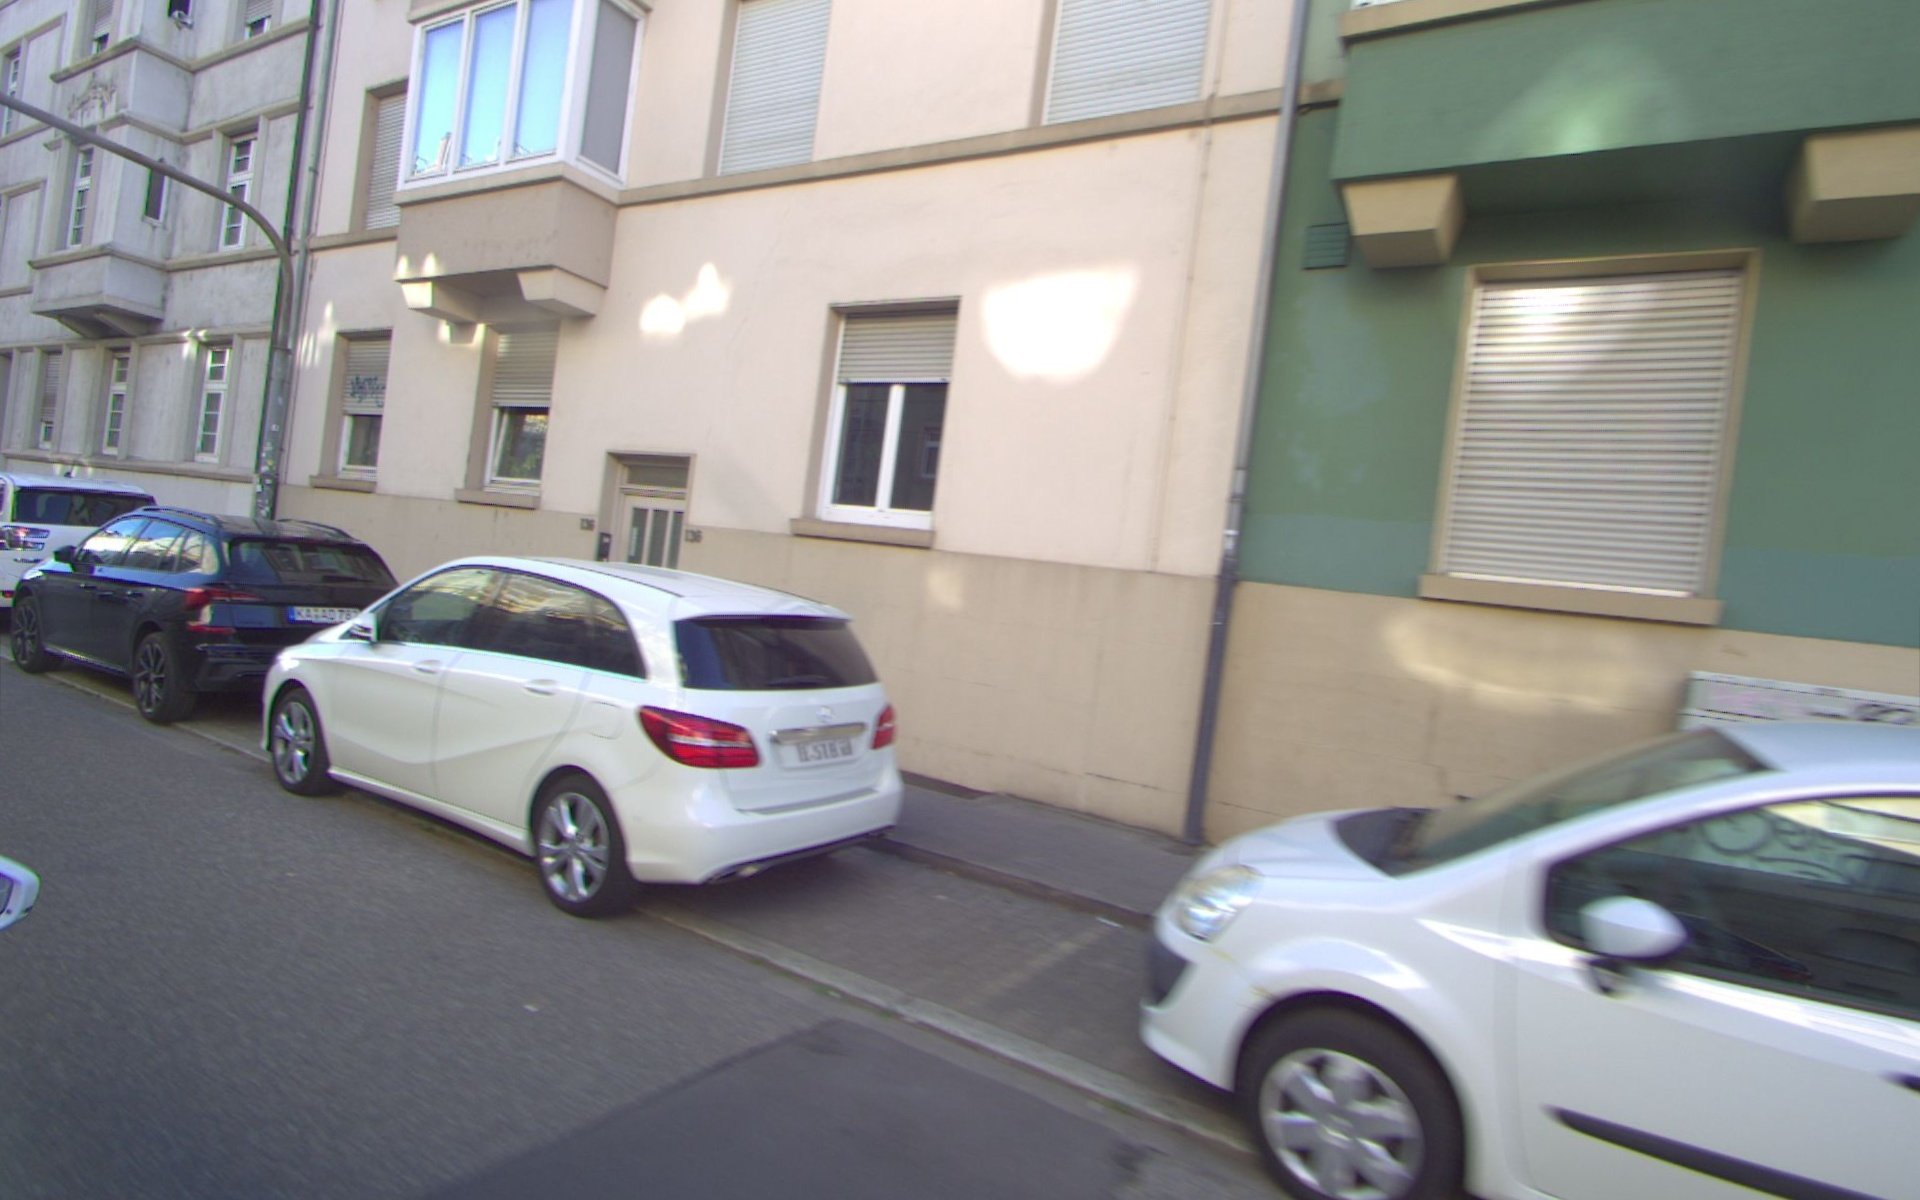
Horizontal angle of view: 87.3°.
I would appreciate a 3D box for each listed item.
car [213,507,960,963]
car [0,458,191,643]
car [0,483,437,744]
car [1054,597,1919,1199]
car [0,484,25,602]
[{"bbox_3d":[-2.345,0.509,5.929,4.255,1.595,1.786,7,0,32],"label":"car"},{"bbox_3d":[-11.124,-0.706,11.641,4.522,1.773,1.658,7,0,28],"label":"car"},{"bbox_3d":[-6.566,0.019,8.616,4.266,1.585,1.657,7,0,32],"label":"car"},{"bbox_3d":[2.516,1.092,2.931,3.934,1.652,1.786,7,0,32],"label":"car"},{"bbox_3d":[-14.891,-1.016,14.129,3.540,1.579,1.616,7,0,32],"label":"car"}]
